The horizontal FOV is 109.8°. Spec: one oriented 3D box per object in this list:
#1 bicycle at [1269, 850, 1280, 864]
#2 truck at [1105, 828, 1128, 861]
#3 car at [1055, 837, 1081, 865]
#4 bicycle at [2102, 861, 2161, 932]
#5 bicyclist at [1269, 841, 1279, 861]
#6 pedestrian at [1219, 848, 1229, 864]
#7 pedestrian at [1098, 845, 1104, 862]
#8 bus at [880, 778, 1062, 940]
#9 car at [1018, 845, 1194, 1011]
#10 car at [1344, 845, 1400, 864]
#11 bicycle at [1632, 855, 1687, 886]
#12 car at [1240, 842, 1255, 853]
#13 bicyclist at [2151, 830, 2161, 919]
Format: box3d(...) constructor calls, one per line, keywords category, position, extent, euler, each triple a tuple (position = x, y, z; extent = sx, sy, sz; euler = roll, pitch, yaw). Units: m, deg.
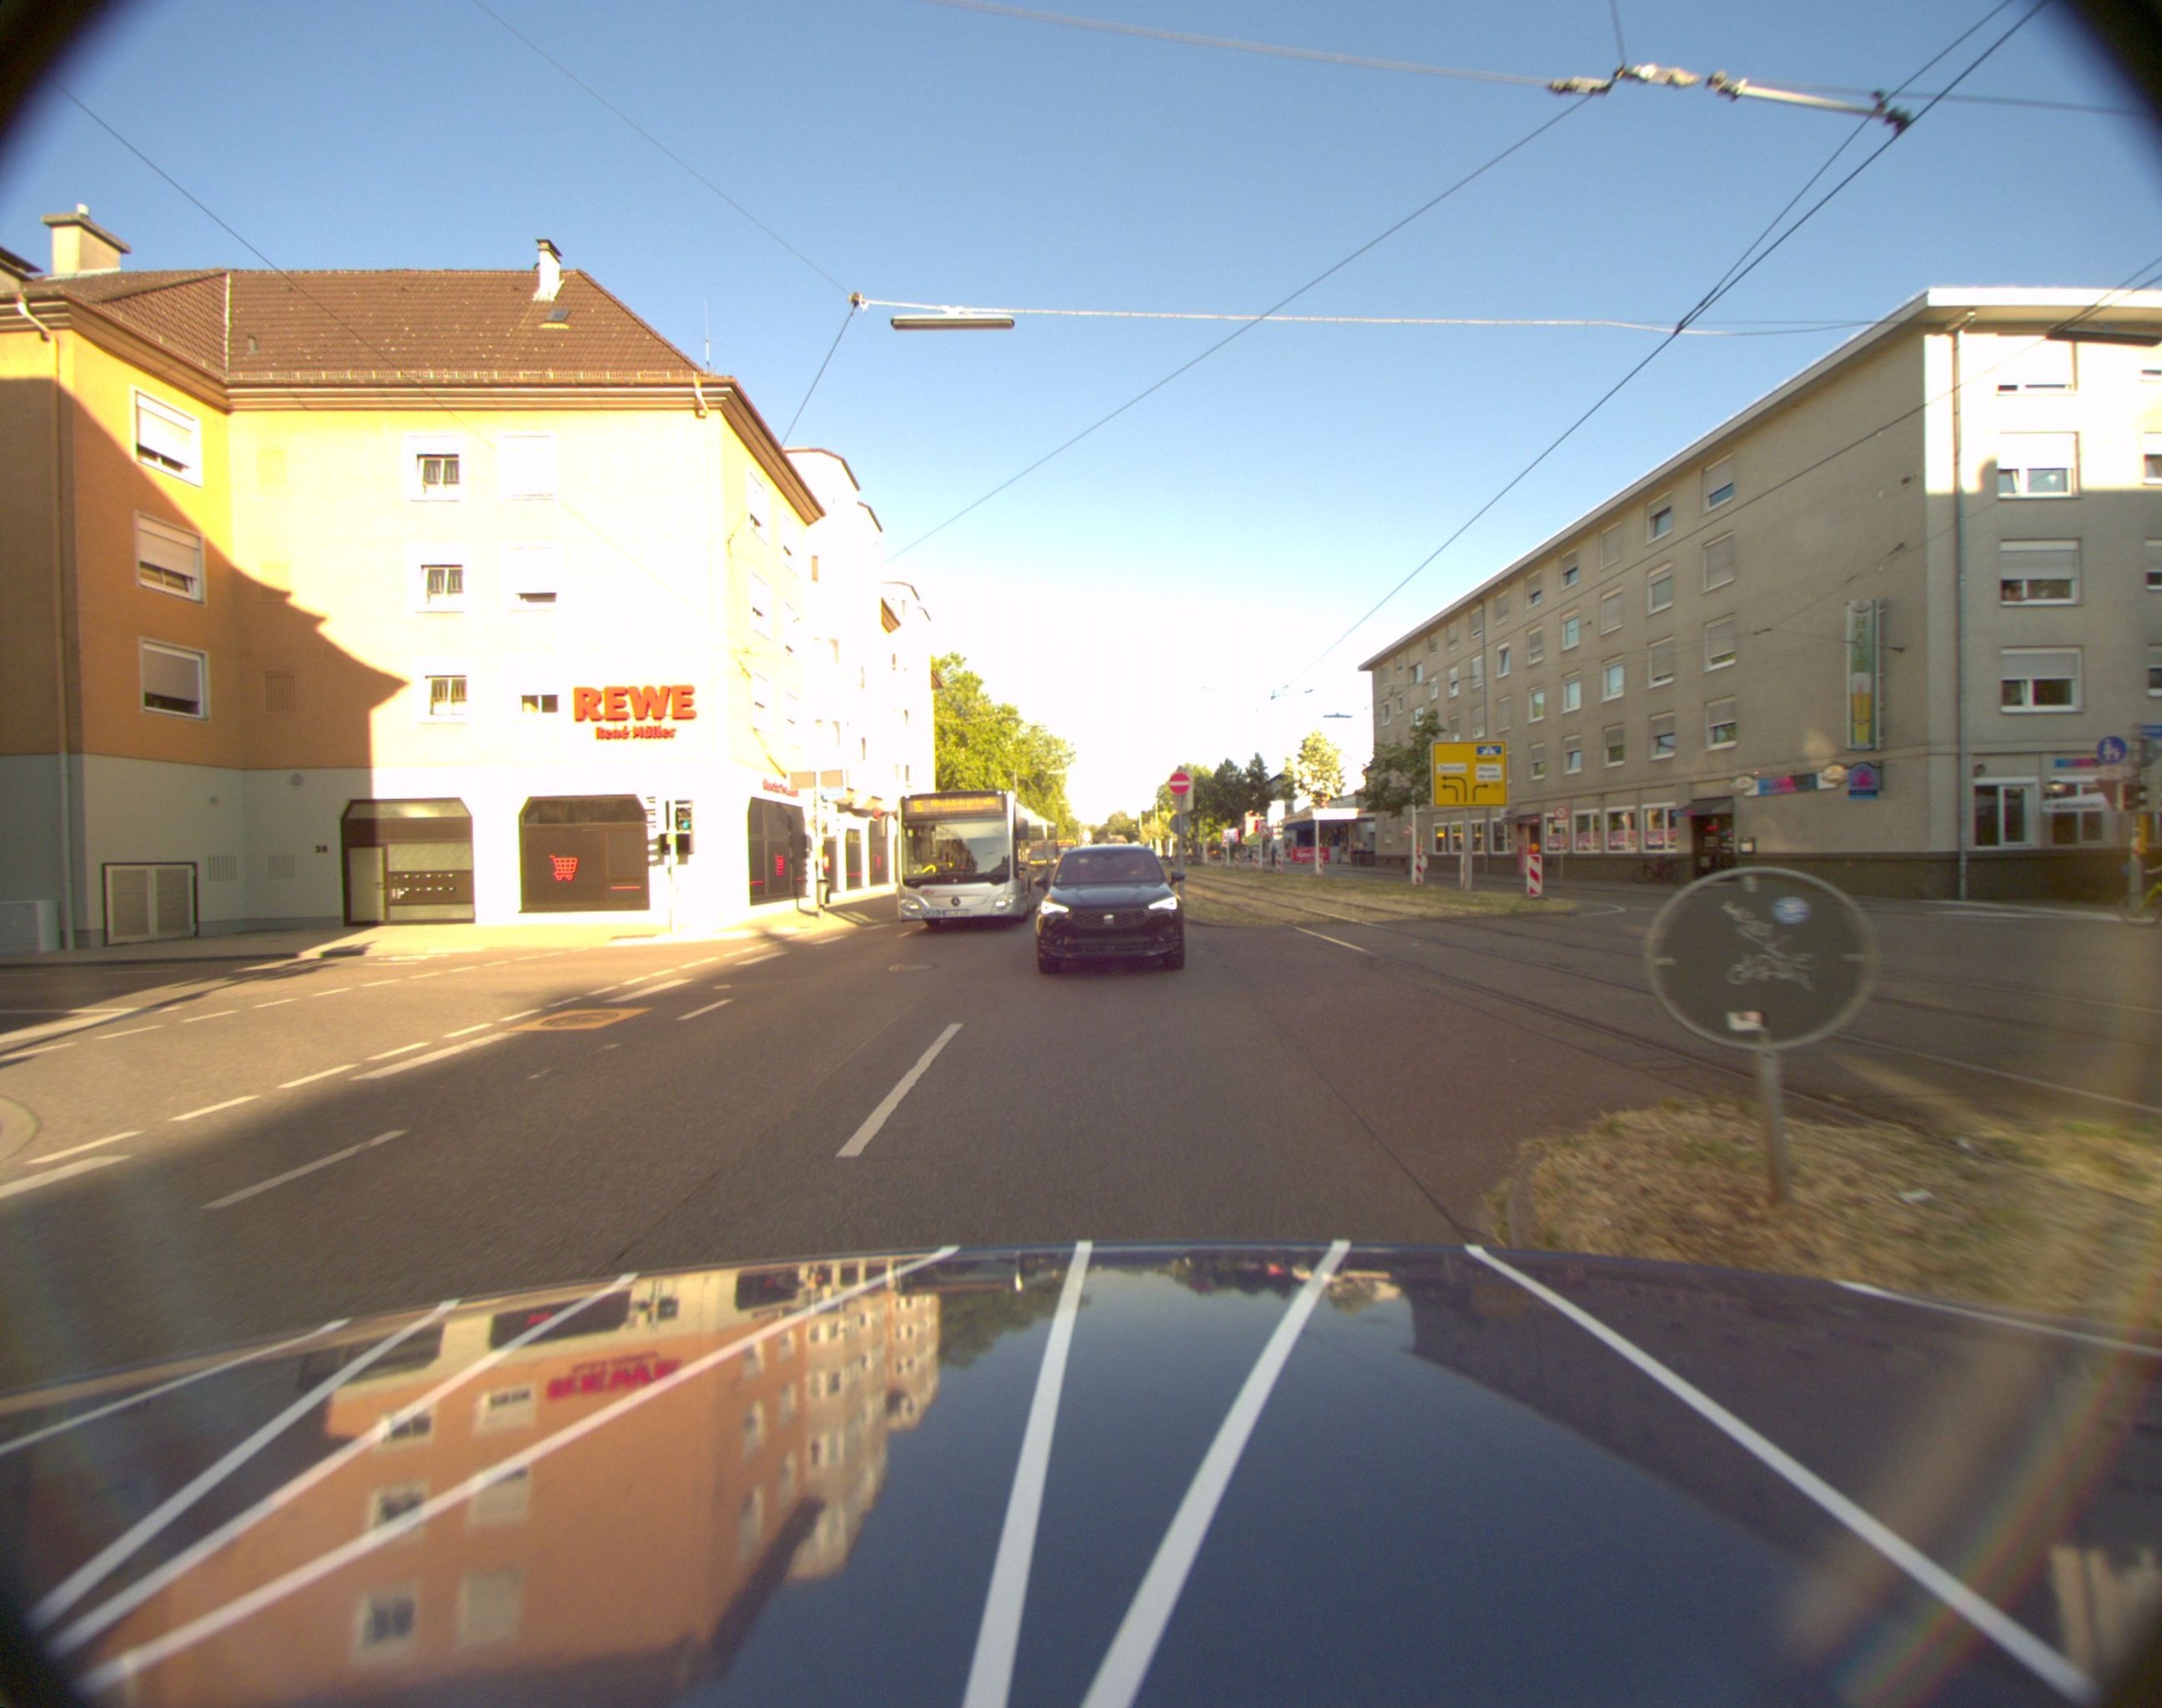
box3d(category="bicycle", position=(17.597, 0.249, 69.291), extent=(0.456, 1.250, 1.870), euler=(-2, 0, -1))
box3d(category="truck", position=(4.379, -1.186, 94.093), extent=(2.306, 3.798, 7.722), euler=(-3, 1, 0))
box3d(category="car", position=(-1.433, -0.376, 84.442), extent=(2.681, 2.875, 5.451), euler=(-3, 1, -1))
box3d(category="bicycle", position=(19.418, 0.756, 13.373), extent=(0.456, 1.250, 1.871), euler=(-2, 0, 5))
box3d(category="bicyclist", position=(17.591, -0.277, 69.273), extent=(0.653, 1.872, 0.809), euler=(-1, 1, -2))
box3d(category="pedestrian", position=(11.422, 0.171, 60.739), extent=(0.664, 1.263, 0.581), euler=(-3, 0, 1))
box3d(category="pedestrian", position=(2.436, -0.079, 92.429), extent=(0.625, 2.002, 0.695), euler=(-3, 1, 0))
box3d(category="bus", position=(-2.423, 0.013, 24.065), extent=(2.773, 3.132, 17.740), euler=(-2, 1, 1))
box3d(category="car", position=(0.269, 0.768, 9.950), extent=(1.775, 1.667, 4.000), euler=(-2, 0, 0))
box3d(category="car", position=(23.293, 0.046, 60.953), extent=(3.728, 1.460, 1.908), euler=(-1, -1, -1))
box3d(category="bicycle", position=(21.130, 0.579, 27.796), extent=(0.609, 1.018, 1.844), euler=(-3, 1, 0))
box3d(category="car", position=(25.094, -0.946, 114.585), extent=(1.781, 1.547, 4.001), euler=(-2, 1, 9))
box3d(category="bicyclist", position=(19.404, 0.348, 13.144), extent=(0.627, 1.577, 0.809), euler=(-2, 0, 3))
